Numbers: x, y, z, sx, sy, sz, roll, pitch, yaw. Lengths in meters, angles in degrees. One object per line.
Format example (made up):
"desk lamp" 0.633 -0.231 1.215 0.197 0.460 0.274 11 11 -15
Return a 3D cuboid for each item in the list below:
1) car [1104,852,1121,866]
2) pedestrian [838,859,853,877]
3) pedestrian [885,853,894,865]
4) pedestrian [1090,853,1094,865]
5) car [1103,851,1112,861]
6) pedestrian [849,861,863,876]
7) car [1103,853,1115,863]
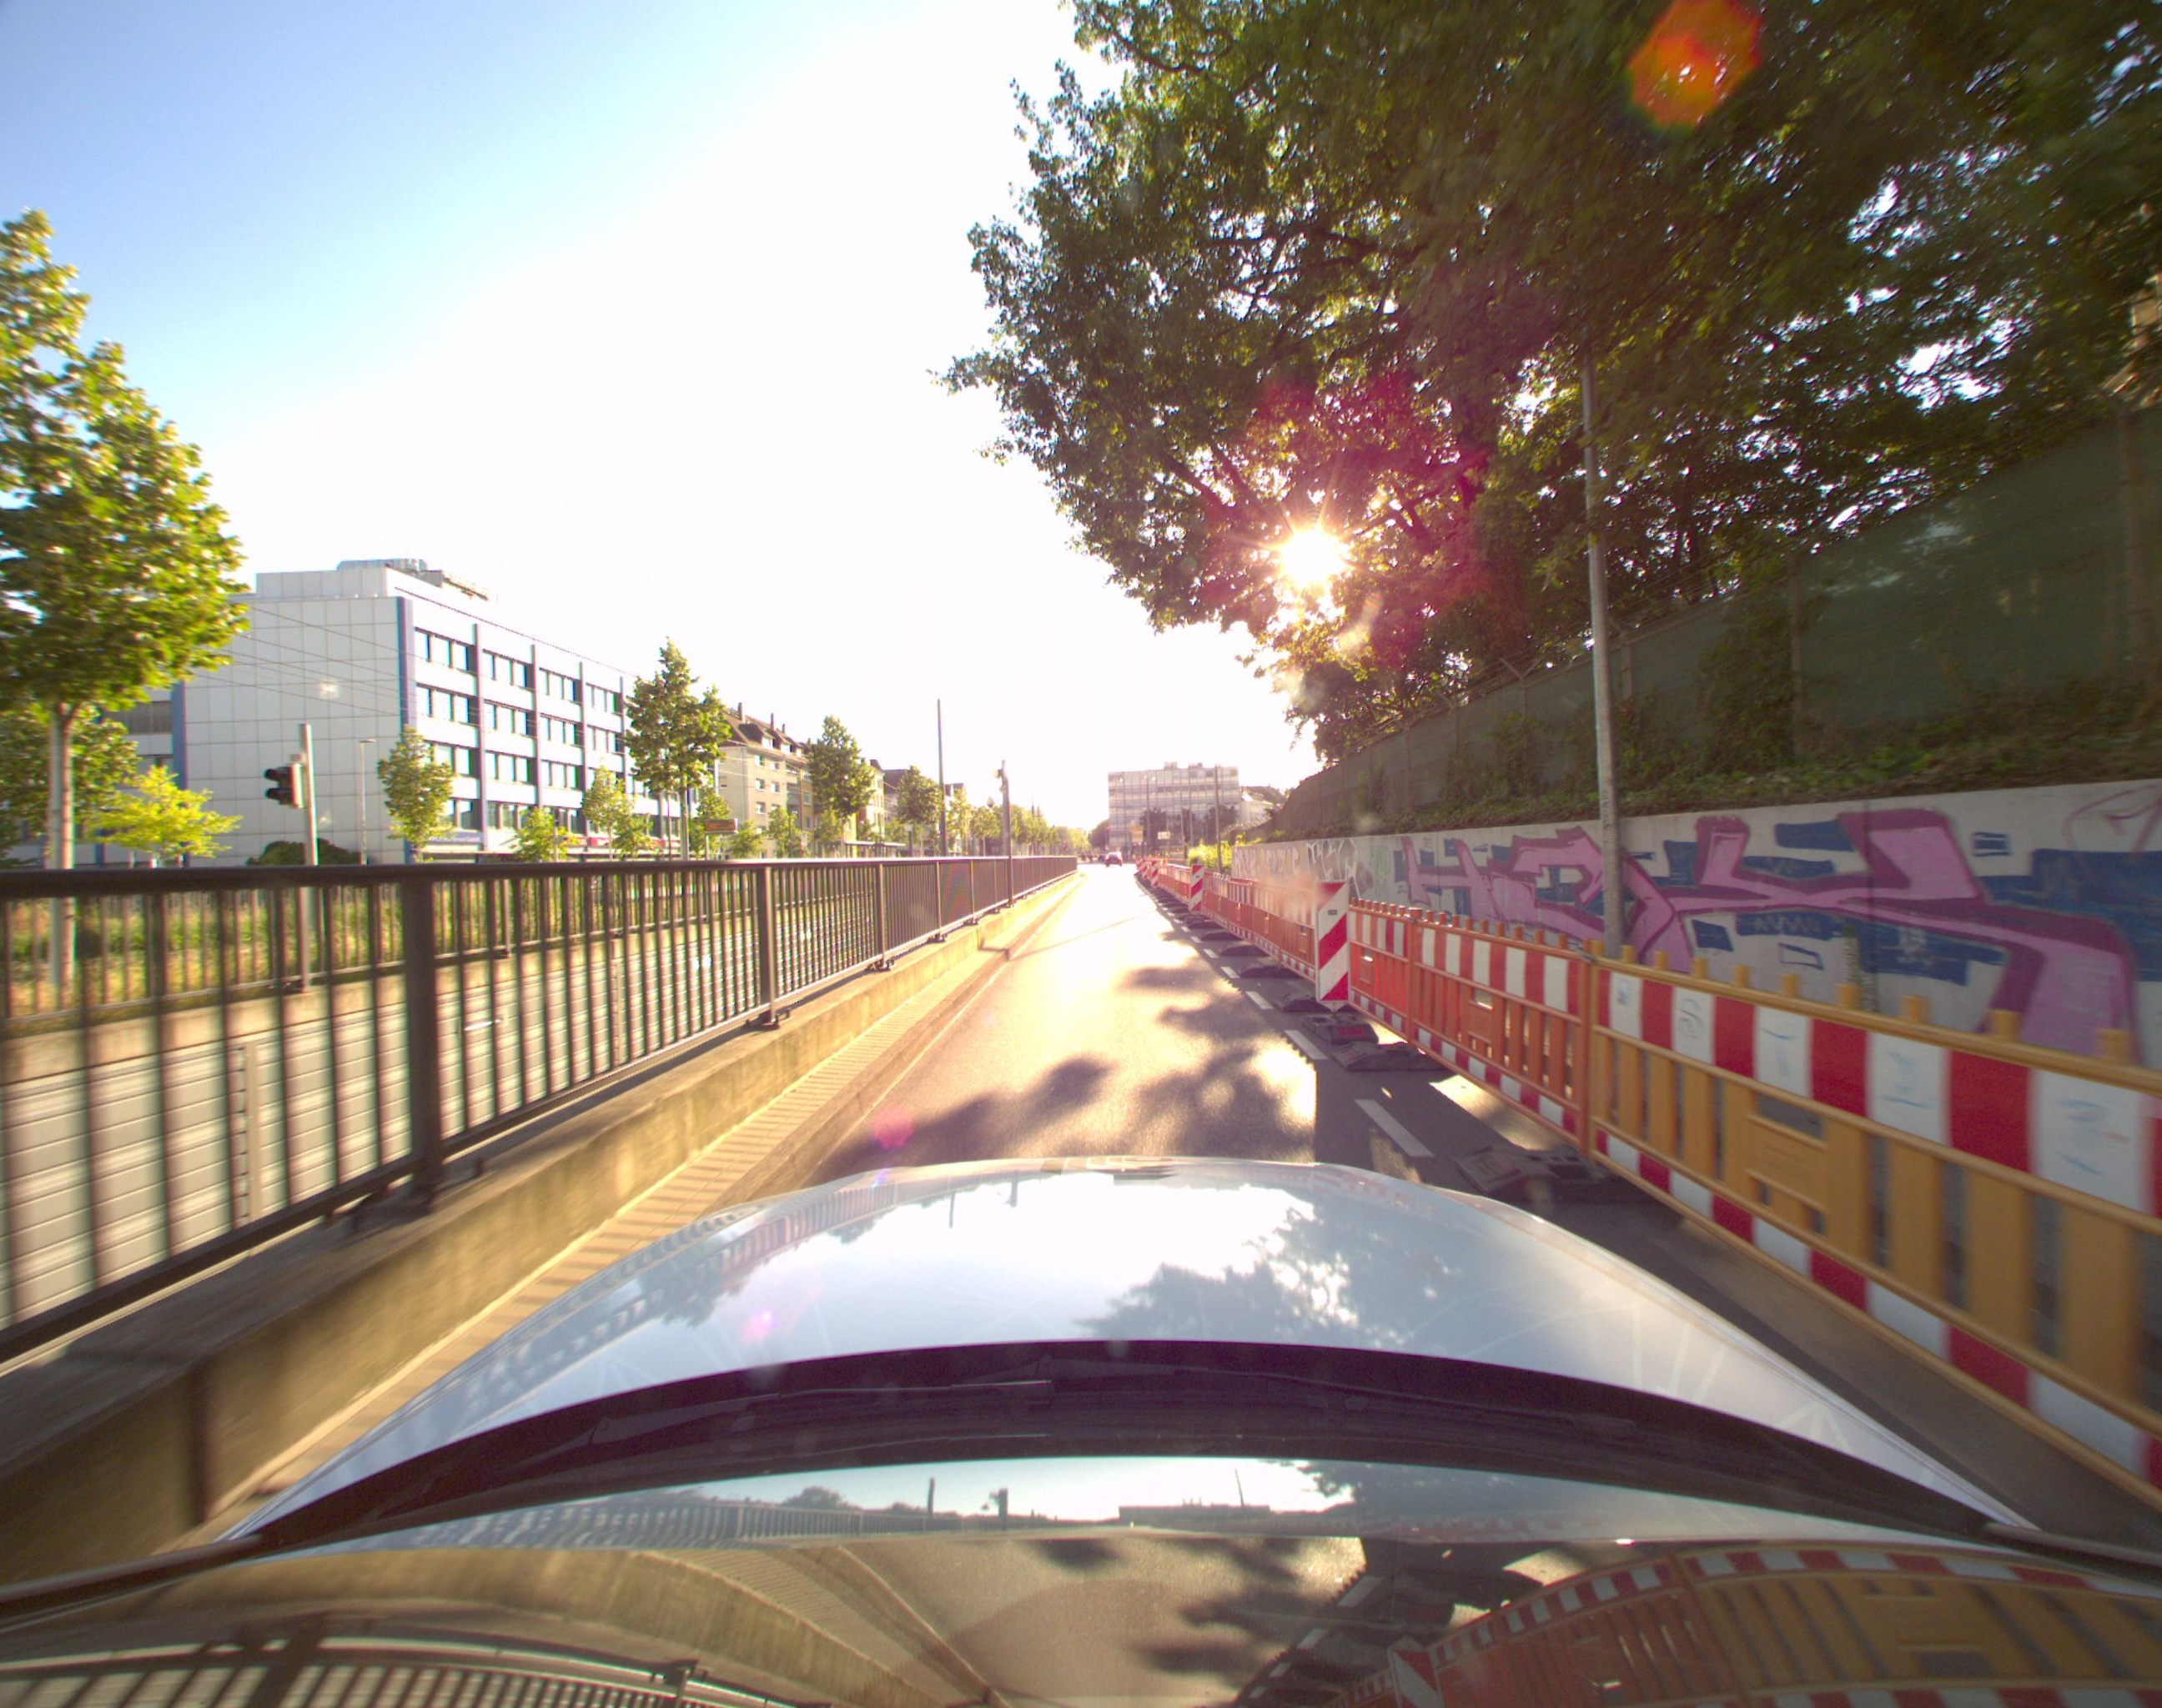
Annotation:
"car" 3.951 0.619 102.299 1.986 1.693 4.002 -1 1 2
"pedestrian" -18.635 1.096 64.421 0.835 1.410 0.804 -2 0 1
"pedestrian" -18.025 0.451 76.630 0.625 1.047 0.794 -2 0 1
"pedestrian" 1.929 0.923 138.424 0.610 2.014 0.511 -1 -1 5
"car" 7.416 0.556 228.562 2.477 2.392 5.935 -4 -1 1
"pedestrian" -18.516 1.173 66.992 0.930 1.197 0.764 -2 0 1
"car" 4.287 0.572 124.497 1.736 1.426 4.003 -2 0 3
